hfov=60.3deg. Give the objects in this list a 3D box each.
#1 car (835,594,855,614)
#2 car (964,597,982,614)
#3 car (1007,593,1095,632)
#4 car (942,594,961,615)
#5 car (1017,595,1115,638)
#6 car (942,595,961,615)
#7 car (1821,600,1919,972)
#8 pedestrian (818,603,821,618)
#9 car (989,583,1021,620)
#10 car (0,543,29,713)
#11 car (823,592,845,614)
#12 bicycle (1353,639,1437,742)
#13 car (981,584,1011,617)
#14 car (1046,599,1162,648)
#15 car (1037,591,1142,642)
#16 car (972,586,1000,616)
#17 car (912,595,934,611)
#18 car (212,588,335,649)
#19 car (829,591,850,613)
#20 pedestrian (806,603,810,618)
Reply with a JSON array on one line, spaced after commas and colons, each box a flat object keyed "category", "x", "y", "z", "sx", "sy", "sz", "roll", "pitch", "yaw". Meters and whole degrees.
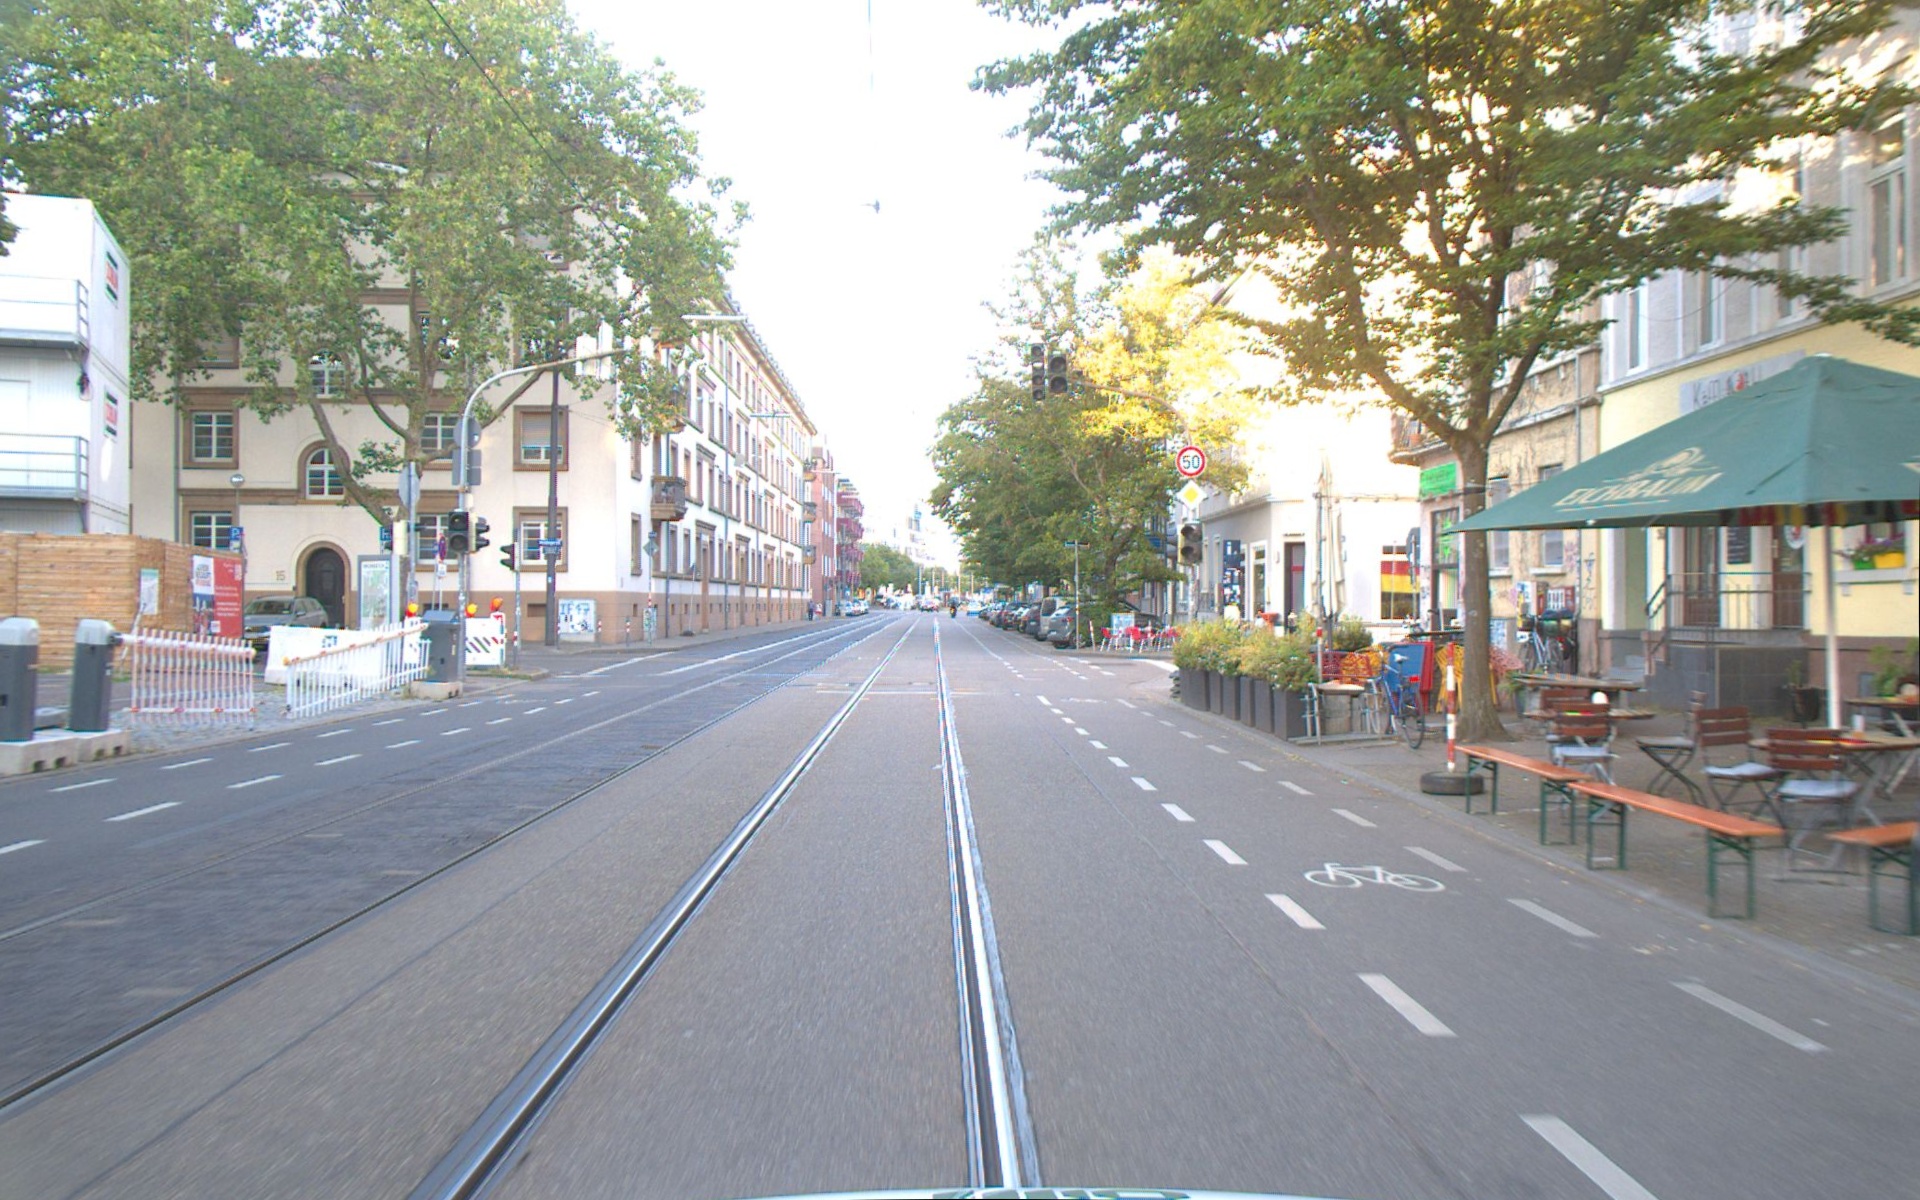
[{"category": "car", "x": -11.930, "y": 0.441, "z": 171.963, "sx": 1.859, "sy": 2.049, "sz": 3.999, "roll": 1, "pitch": 0, "yaw": -1}, {"category": "car", "x": 1.498, "y": 0.666, "z": 192.328, "sx": 1.923, "sy": 1.748, "sz": 4.001, "roll": 1, "pitch": 3, "yaw": -1}, {"category": "car", "x": 4.019, "y": 0.565, "z": 73.509, "sx": 3.808, "sy": 1.690, "sz": 1.861, "roll": 0, "pitch": -1, "yaw": 0}, {"category": "car", "x": -0.829, "y": 0.478, "z": 164.998, "sx": 1.859, "sy": 2.049, "sz": 3.999, "roll": 1, "pitch": 0, "yaw": -1}, {"category": "car", "x": 4.247, "y": 0.649, "z": 66.743, "sx": 3.808, "sy": 1.690, "sz": 1.861, "roll": 0, "pitch": -1, "yaw": 0}, {"category": "car", "x": -0.918, "y": 0.535, "z": 172.423, "sx": 1.859, "sy": 2.049, "sz": 3.999, "roll": 1, "pitch": 0, "yaw": -1}, {"category": "car", "x": 6.024, "y": 0.726, "z": 7.178, "sx": 4.123, "sy": 1.525, "sz": 1.992, "roll": -1, "pitch": -1, "yaw": -26}, {"category": "pedestrian", "x": -10.984, "y": 0.832, "z": 129.292, "sx": 0.288, "sy": 1.129, "sz": 0.252, "roll": 0, "pitch": -1, "yaw": -6}, {"category": "car", "x": 2.567, "y": 0.103, "z": 95.394, "sx": 1.686, "sy": 2.049, "sz": 3.999, "roll": 1, "pitch": 0, "yaw": -1}, {"category": "car", "x": -13.700, "y": 0.234, "z": 18.818, "sx": 4.921, "sy": 1.979, "sz": 2.228, "roll": 2, "pitch": 0, "yaw": 3}, {"category": "car", "x": -12.285, "y": 0.310, "z": 161.755, "sx": 1.859, "sy": 2.049, "sz": 3.999, "roll": 1, "pitch": 0, "yaw": -1}, {"category": "bicycle", "x": 4.769, "y": 0.970, "z": 18.226, "sx": 0.410, "sy": 1.033, "sz": 1.829, "roll": 1, "pitch": 0, "yaw": -1}, {"category": "car", "x": 2.256, "y": 0.037, "z": 105.080, "sx": 1.768, "sy": 2.049, "sz": 3.999, "roll": 1, "pitch": 0, "yaw": -1}, {"category": "car", "x": 4.870, "y": 0.806, "z": 56.349, "sx": 3.808, "sy": 1.620, "sz": 1.861, "roll": 0, "pitch": -1, "yaw": 0}, {"category": "car", "x": 4.817, "y": 0.619, "z": 61.897, "sx": 3.808, "sy": 1.880, "sz": 1.861, "roll": 0, "pitch": -1, "yaw": 0}, {"category": "car", "x": 1.831, "y": 0.049, "z": 117.886, "sx": 1.859, "sy": 2.049, "sz": 3.999, "roll": 1, "pitch": 0, "yaw": -1}, {"category": "car", "x": -4.941, "y": 0.425, "z": 219.019, "sx": 1.951, "sy": 2.049, "sz": 4.003, "roll": 1, "pitch": 0, "yaw": 14}, {"category": "car", "x": -19.737, "y": 0.530, "z": 47.764, "sx": 1.873, "sy": 1.669, "sz": 4.117, "roll": 0, "pitch": 0, "yaw": -1}, {"category": "car", "x": -12.099, "y": 0.192, "z": 166.405, "sx": 1.859, "sy": 2.216, "sz": 3.999, "roll": 1, "pitch": 0, "yaw": -1}, {"category": "pedestrian", "x": -11.856, "y": 0.826, "z": 129.238, "sx": 0.288, "sy": 1.129, "sz": 0.252, "roll": 0, "pitch": -1, "yaw": -6}]
